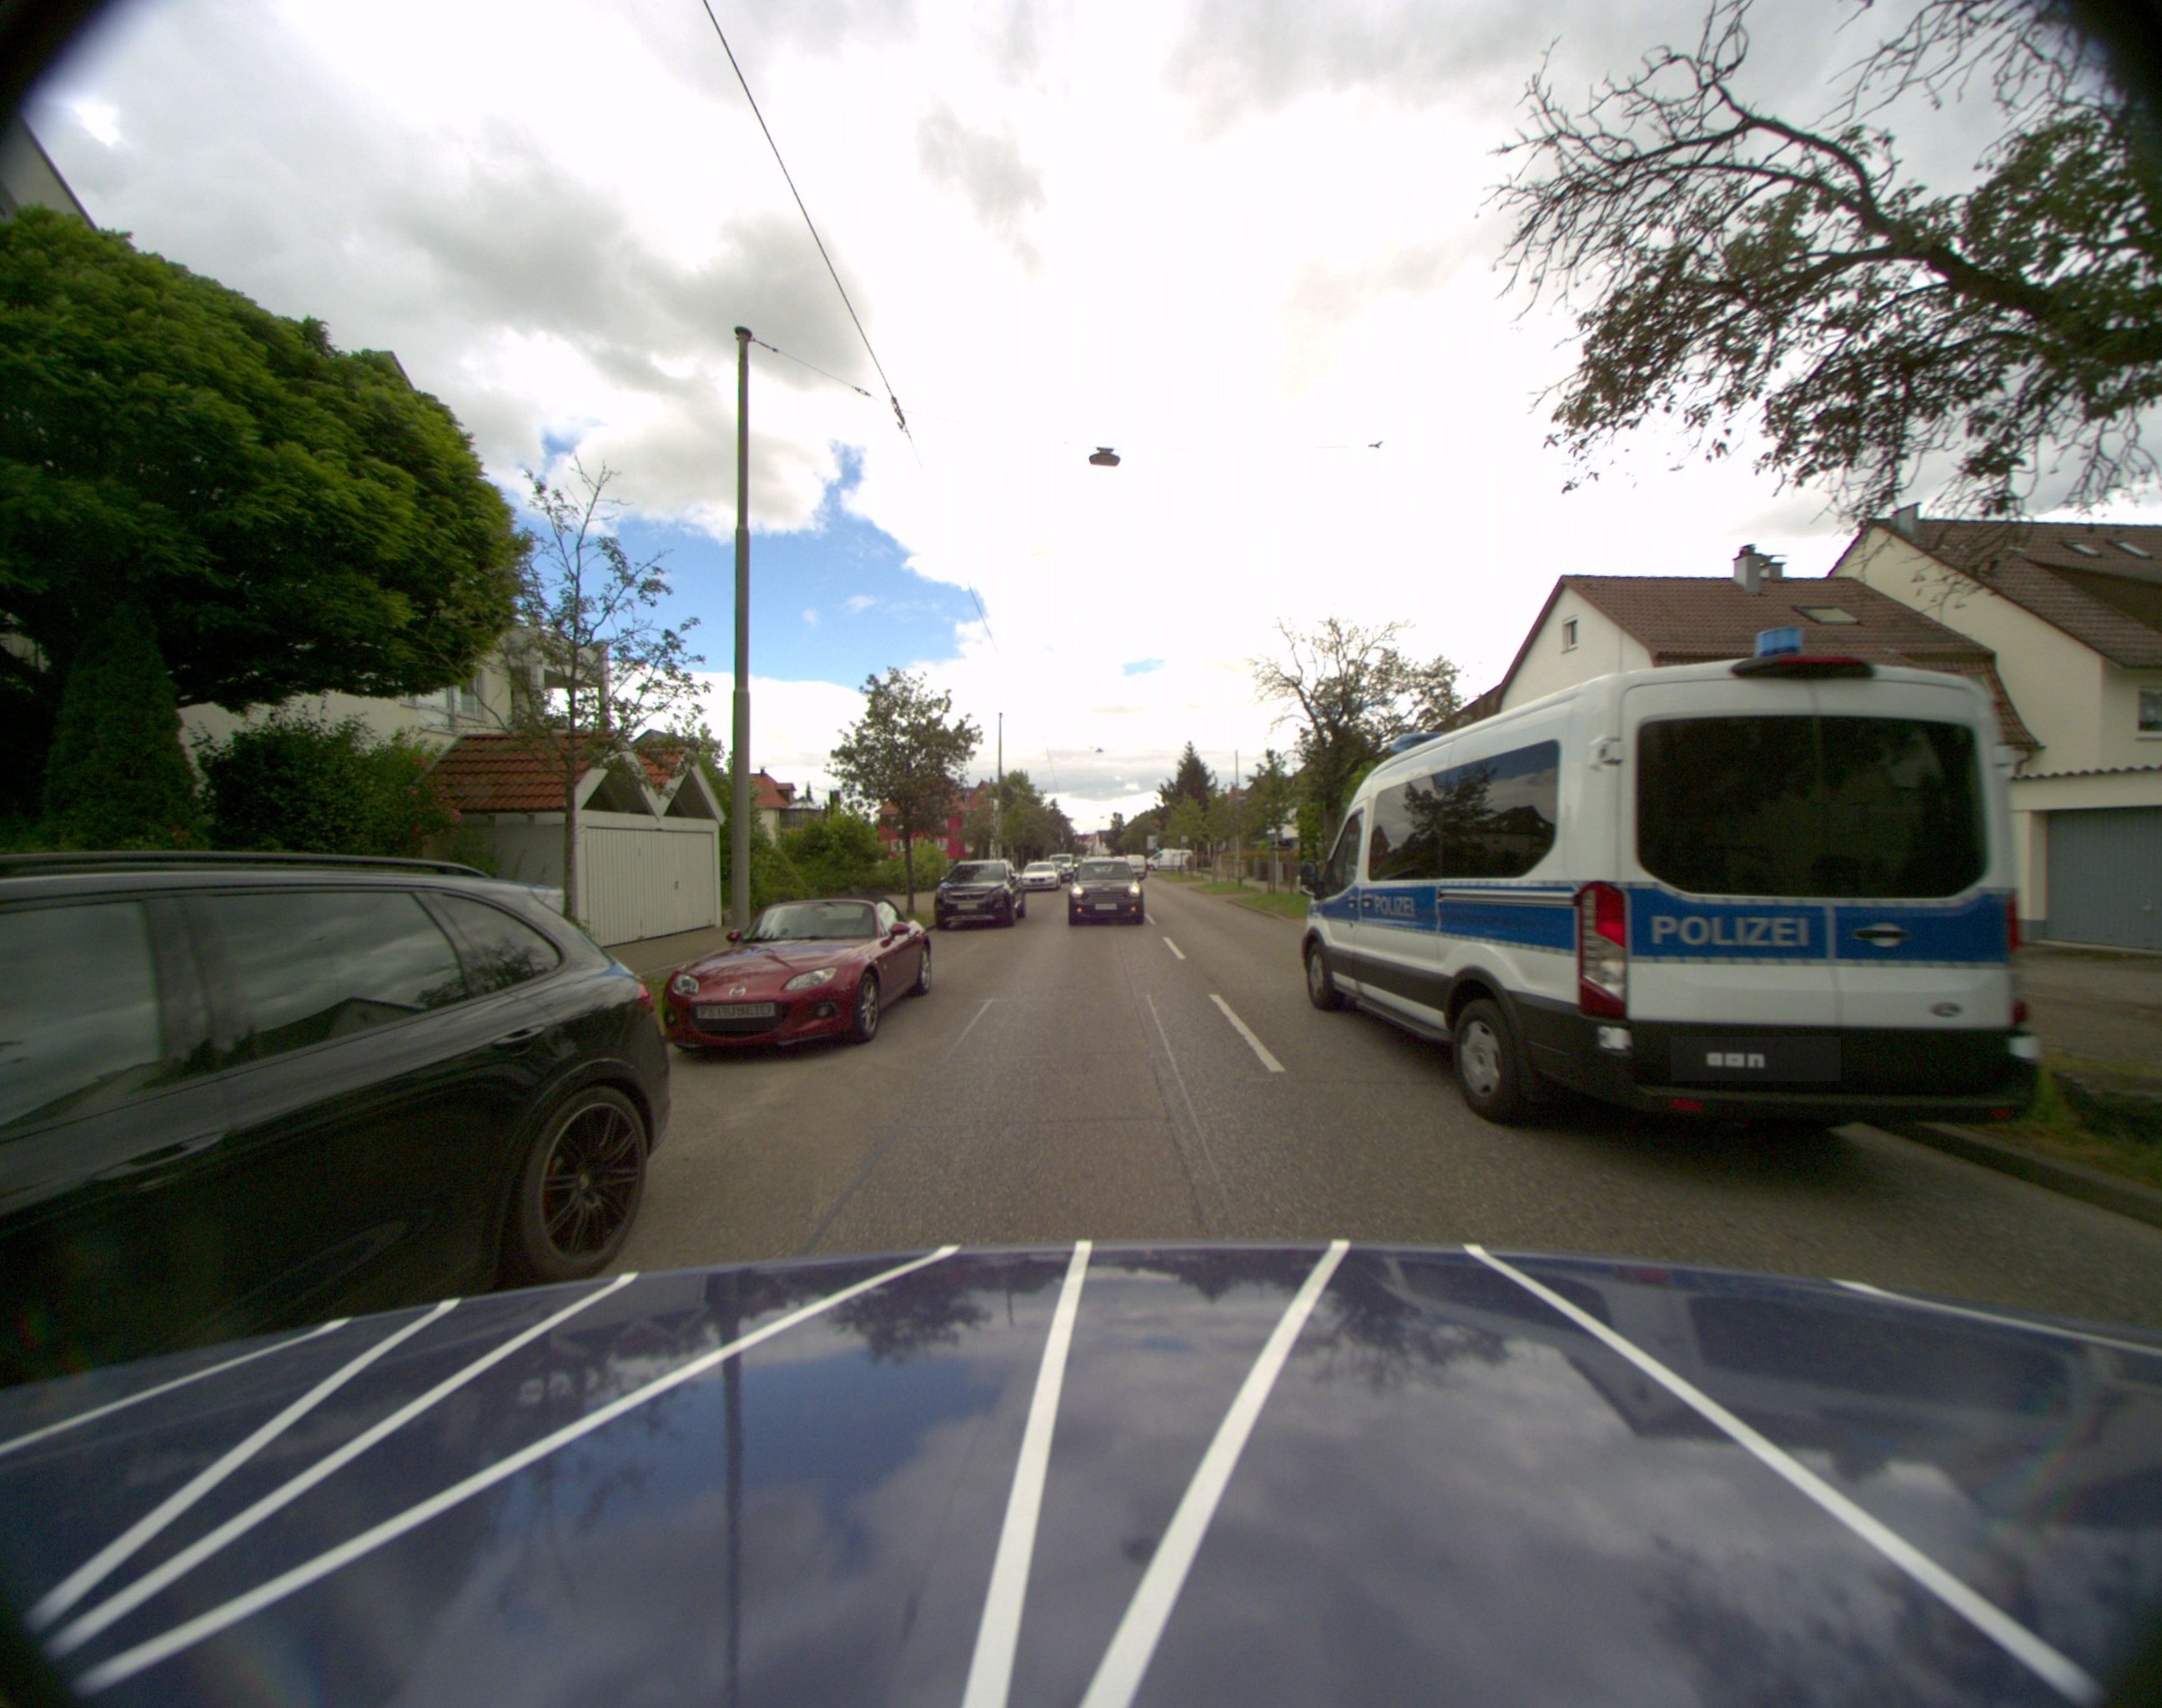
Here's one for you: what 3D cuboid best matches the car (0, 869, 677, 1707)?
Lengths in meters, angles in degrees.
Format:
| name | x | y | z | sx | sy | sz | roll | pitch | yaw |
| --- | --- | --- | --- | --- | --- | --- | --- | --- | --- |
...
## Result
| name | x | y | z | sx | sy | sz | roll | pitch | yaw |
| --- | --- | --- | --- | --- | --- | --- | --- | --- | --- |
| car | -2.884 | 0.978 | 1.235 | 1.834 | 1.702 | 4.549 | -4 | 0 | 1 |

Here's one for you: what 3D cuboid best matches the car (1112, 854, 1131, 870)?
| name | x | y | z | sx | sy | sz | roll | pitch | yaw |
| --- | --- | --- | --- | --- | --- | --- | --- | --- | --- |
| car | 4.317 | 0.835 | 82.006 | 1.818 | 1.683 | 4.465 | 0 | 0 | 0 |

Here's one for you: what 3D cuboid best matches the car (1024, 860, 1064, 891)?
| name | x | y | z | sx | sy | sz | roll | pitch | yaw |
| --- | --- | --- | --- | --- | --- | --- | --- | --- | --- |
| car | -1.875 | 1.072 | 39.297 | 1.697 | 1.445 | 4.405 | -3 | 0 | 1 |

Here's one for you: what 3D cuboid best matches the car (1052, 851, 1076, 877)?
| name | x | y | z | sx | sy | sz | roll | pitch | yaw |
| --- | --- | --- | --- | --- | --- | --- | --- | --- | --- |
| car | -1.311 | 0.761 | 60.808 | 1.779 | 1.932 | 4.788 | -2 | 0 | 0 |

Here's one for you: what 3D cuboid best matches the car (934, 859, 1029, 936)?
| name | x | y | z | sx | sy | sz | roll | pitch | yaw |
| --- | --- | --- | --- | --- | --- | --- | --- | --- | --- |
| car | -2.390 | 1.002 | 19.212 | 1.692 | 1.600 | 4.109 | -3 | 0 | 1 |

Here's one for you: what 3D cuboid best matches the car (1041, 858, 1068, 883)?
| name | x | y | z | sx | sy | sz | roll | pitch | yaw |
| --- | --- | --- | --- | --- | --- | --- | --- | --- | --- |
| car | -1.714 | 1.045 | 50.670 | 1.669 | 1.507 | 4.220 | -2 | 0 | -1 |

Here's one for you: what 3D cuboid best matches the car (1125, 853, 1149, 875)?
| name | x | y | z | sx | sy | sz | roll | pitch | yaw |
| --- | --- | --- | --- | --- | --- | --- | --- | --- | --- |
| car | 4.628 | 0.800 | 63.400 | 1.799 | 1.741 | 4.299 | 0 | 0 | 1 |

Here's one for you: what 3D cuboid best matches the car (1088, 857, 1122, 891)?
| name | x | y | z | sx | sy | sz | roll | pitch | yaw |
| --- | --- | --- | --- | --- | --- | --- | --- | --- | --- |
| car | 1.198 | 0.940 | 37.651 | 1.590 | 1.598 | 3.685 | -1 | 0 | 2 |

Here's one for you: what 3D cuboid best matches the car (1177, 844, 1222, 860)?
| name | x | y | z | sx | sy | sz | roll | pitch | yaw |
| --- | --- | --- | --- | --- | --- | --- | --- | --- | --- |
| car | 12.859 | -0.239 | 82.627 | 4.643 | 1.611 | 2.000 | -1 | 0 | 2 |

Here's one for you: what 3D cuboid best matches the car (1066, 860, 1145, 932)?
| name | x | y | z | sx | sy | sz | roll | pitch | yaw |
| --- | --- | --- | --- | --- | --- | --- | --- | --- | --- |
| car | 0.620 | 0.952 | 18.738 | 1.743 | 1.573 | 3.685 | 1 | 0 | 2 |

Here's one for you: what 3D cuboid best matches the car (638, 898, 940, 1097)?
| name | x | y | z | sx | sy | sz | roll | pitch | yaw |
| --- | --- | --- | --- | --- | --- | --- | --- | --- | --- |
| car | -2.613 | 1.221 | 7.805 | 1.485 | 1.229 | 3.884 | -3 | 0 | 1 |

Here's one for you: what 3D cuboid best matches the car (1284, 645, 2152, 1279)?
| name | x | y | z | sx | sy | sz | roll | pitch | yaw |
| --- | --- | --- | --- | --- | --- | --- | --- | --- | --- |
| car | 3.317 | 0.449 | 5.766 | 2.078 | 2.567 | 5.299 | 1 | 0 | 0 |

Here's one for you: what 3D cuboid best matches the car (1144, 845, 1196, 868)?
| name | x | y | z | sx | sy | sz | roll | pitch | yaw |
| --- | --- | --- | --- | --- | --- | --- | --- | --- | --- |
| car | 10.321 | 0.269 | 87.869 | 5.610 | 2.549 | 2.133 | 1 | 1 | 19 |
